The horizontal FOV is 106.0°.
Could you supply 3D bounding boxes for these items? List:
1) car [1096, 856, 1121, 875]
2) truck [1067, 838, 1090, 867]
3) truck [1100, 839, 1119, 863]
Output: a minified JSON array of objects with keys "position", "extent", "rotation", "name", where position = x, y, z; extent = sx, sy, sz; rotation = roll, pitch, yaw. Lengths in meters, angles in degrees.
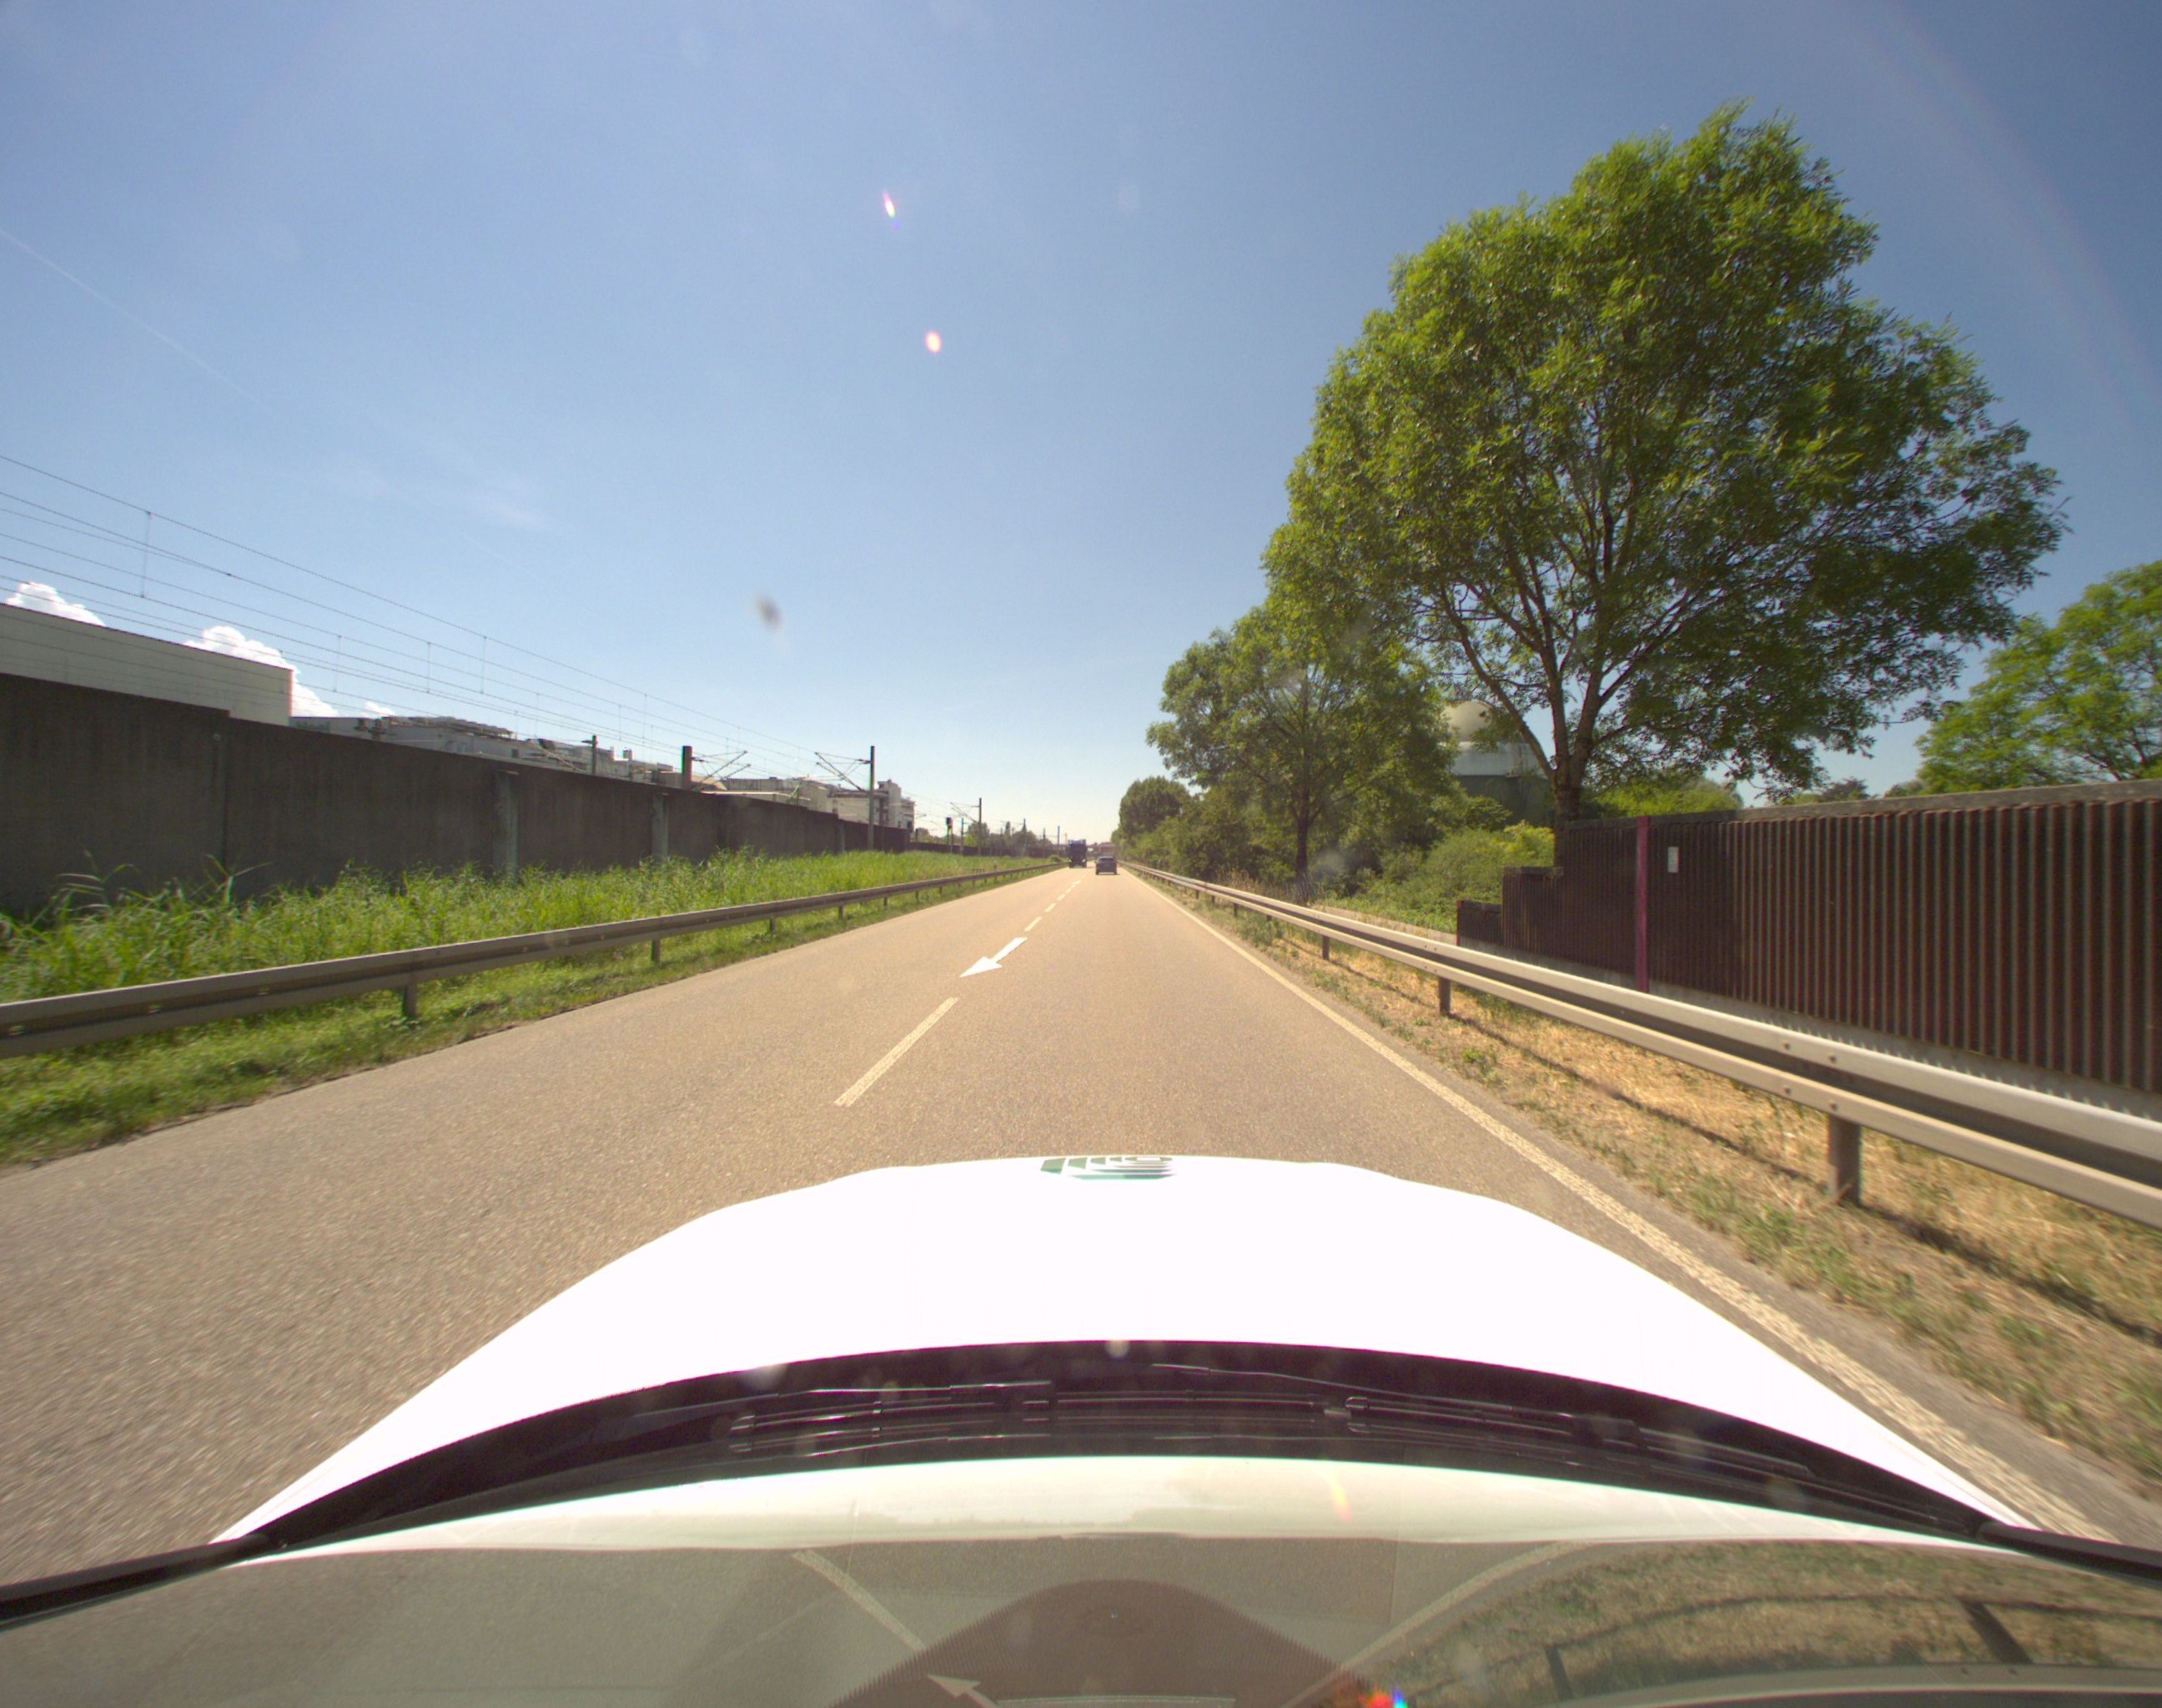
[{"position":[2.296,0.950,69.830],"extent":[1.987,1.508,3.999],"rotation":[-1,0,-1],"name":"car"},{"position":[-0.224,-0.224,118.168],"extent":[2.787,3.978,10.504],"rotation":[-3,0,2],"name":"truck"},{"position":[4.197,-0.337,120.699],"extent":[2.760,3.425,10.823],"rotation":[0,0,2],"name":"truck"}]
